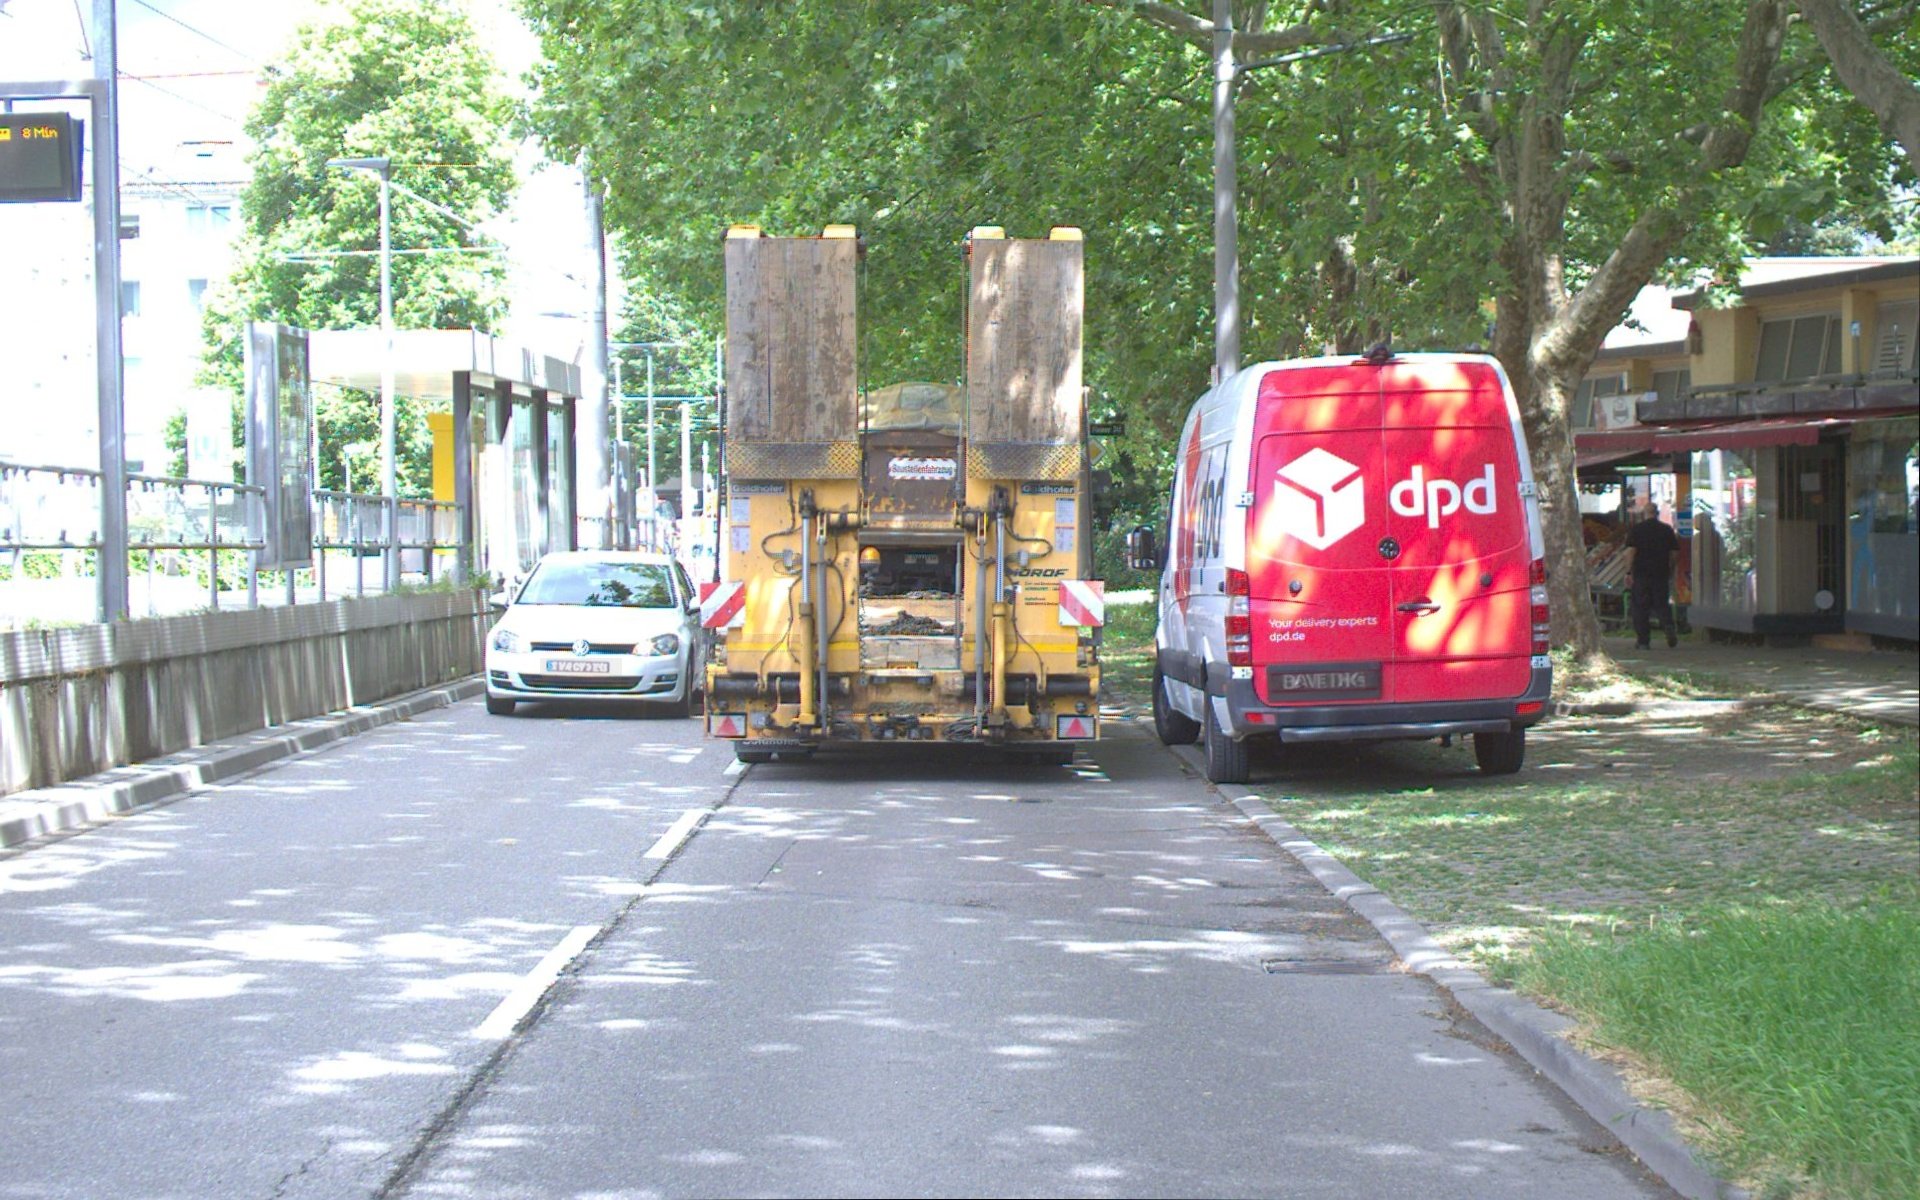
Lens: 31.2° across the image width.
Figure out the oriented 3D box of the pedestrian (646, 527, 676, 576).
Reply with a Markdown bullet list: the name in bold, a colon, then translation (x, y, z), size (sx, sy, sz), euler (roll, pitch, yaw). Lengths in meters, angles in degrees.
- **pedestrian**: translation (-11.423, -1.865, 131.360), size (0.885, 1.861, 0.837), euler (0, 1, -29)

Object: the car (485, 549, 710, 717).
- **car**: translation (-3.211, 0.252, 31.023), size (1.732, 1.391, 3.752), euler (1, 1, -2)

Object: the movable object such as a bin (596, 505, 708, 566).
- **movable object such as a bin**: translation (-13.418, -2.799, 149.766), size (4.373, 2.620, 2.217), euler (1, 1, 26)

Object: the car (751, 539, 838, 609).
- **car**: translation (-3.671, -0.607, 76.800), size (1.762, 1.476, 4.577), euler (1, 1, -1)

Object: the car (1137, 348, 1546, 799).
- **car**: translation (2.406, -0.210, 23.505), size (1.904, 2.572, 6.834), euler (-2, 1, 0)

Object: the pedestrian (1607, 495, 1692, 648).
- **pedestrian**: translation (7.927, -0.330, 39.544), size (0.759, 1.719, 0.659), euler (-2, 1, -4)

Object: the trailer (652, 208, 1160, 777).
- **trailer**: translation (-0.434, -0.765, 27.119), size (3.154, 3.540, 11.098), euler (1, 1, -1)

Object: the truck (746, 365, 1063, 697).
- **truck**: translation (-0.604, -0.724, 36.607), size (2.989, 3.124, 7.888), euler (1, 1, -1)

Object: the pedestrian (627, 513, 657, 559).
- **pedestrian**: translation (-12.086, -2.423, 130.517), size (0.886, 1.754, 0.836), euler (1, 1, 16)

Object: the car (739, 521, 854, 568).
- **car**: translation (-7.744, -2.614, 162.796), size (5.088, 2.095, 1.977), euler (1, 1, -14)
